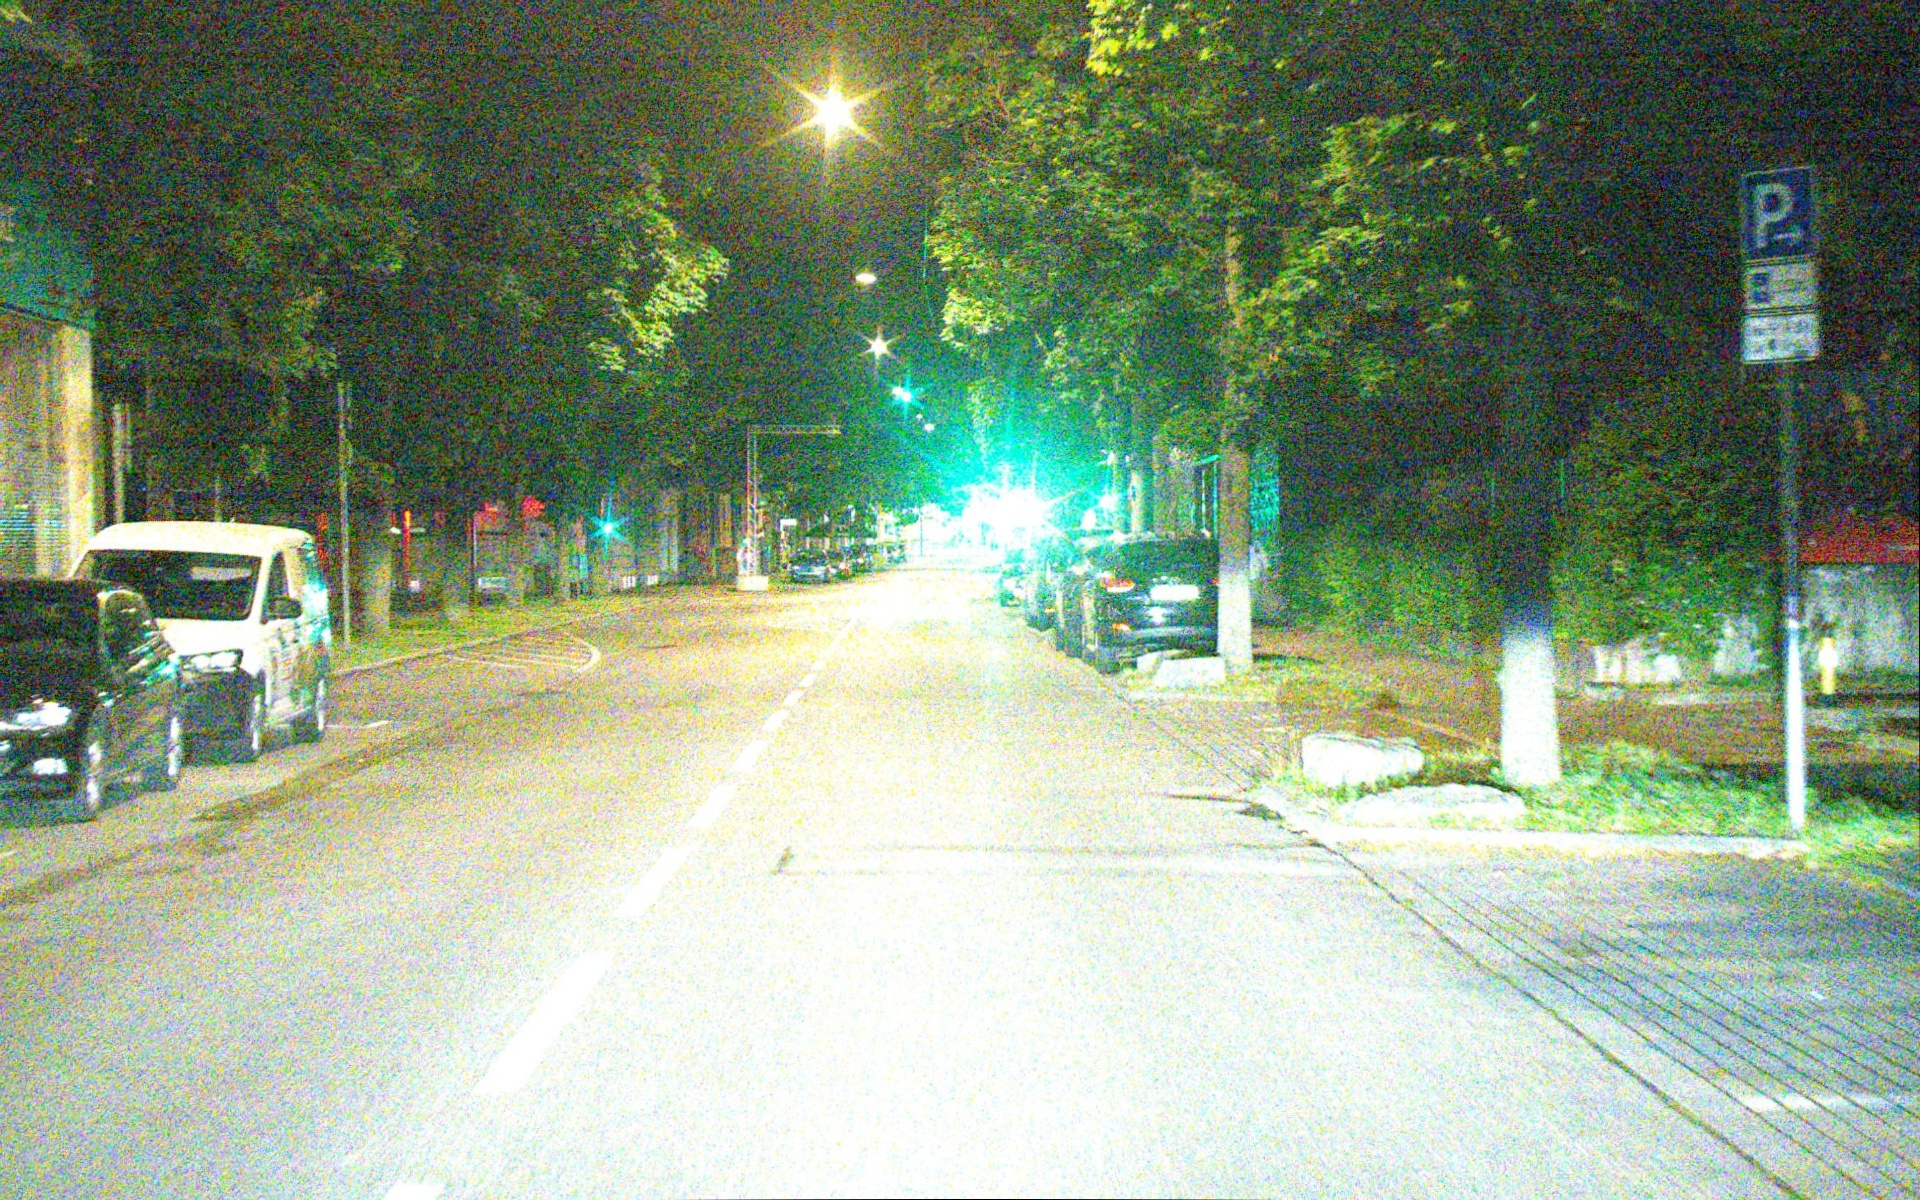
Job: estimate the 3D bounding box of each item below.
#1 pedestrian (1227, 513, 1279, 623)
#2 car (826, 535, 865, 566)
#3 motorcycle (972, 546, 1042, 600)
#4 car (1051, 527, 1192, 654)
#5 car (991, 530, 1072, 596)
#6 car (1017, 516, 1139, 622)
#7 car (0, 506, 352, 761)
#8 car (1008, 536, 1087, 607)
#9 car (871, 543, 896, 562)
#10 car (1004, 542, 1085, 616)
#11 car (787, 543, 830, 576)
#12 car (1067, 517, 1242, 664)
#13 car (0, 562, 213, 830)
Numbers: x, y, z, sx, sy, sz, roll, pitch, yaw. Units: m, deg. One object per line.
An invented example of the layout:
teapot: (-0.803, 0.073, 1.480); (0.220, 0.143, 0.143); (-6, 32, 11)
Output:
pedestrian: (4.671, -0.515, 54.837); (0.705, 1.716, 0.821); (-2, 1, 0)
car: (-5.464, -2.369, 164.736); (1.740, 1.411, 3.752); (0, 2, 0)
motorcycle: (1.137, -0.661, 82.857); (0.637, 1.265, 2.060); (0, 1, 34)
car: (2.228, -0.178, 48.201); (1.853, 1.599, 4.209); (-2, 2, 2)
car: (1.779, -0.955, 86.664); (1.853, 1.584, 4.301); (-1, 1, -1)
car: (2.112, -0.582, 62.632); (1.771, 1.800, 4.278); (-2, 1, -3)
car: (-6.194, 0.203, 27.498); (1.822, 1.805, 4.210); (2, 1, 1)
car: (2.003, -0.669, 79.400); (1.591, 1.529, 4.138); (-2, 1, -1)
car: (-5.575, -3.449, 249.493); (1.740, 1.411, 3.752); (0, 1, 0)
car: (1.694, -0.443, 69.963); (1.520, 1.391, 3.984); (-2, 1, 0)
car: (-6.589, -1.775, 150.168); (1.740, 1.411, 3.752); (0, 1, 0)
car: (2.347, -0.153, 42.398); (1.853, 1.648, 4.209); (-2, 1, 0)
car: (-5.980, 0.528, 21.666); (1.700, 1.428, 3.829); (3, 1, -1)
